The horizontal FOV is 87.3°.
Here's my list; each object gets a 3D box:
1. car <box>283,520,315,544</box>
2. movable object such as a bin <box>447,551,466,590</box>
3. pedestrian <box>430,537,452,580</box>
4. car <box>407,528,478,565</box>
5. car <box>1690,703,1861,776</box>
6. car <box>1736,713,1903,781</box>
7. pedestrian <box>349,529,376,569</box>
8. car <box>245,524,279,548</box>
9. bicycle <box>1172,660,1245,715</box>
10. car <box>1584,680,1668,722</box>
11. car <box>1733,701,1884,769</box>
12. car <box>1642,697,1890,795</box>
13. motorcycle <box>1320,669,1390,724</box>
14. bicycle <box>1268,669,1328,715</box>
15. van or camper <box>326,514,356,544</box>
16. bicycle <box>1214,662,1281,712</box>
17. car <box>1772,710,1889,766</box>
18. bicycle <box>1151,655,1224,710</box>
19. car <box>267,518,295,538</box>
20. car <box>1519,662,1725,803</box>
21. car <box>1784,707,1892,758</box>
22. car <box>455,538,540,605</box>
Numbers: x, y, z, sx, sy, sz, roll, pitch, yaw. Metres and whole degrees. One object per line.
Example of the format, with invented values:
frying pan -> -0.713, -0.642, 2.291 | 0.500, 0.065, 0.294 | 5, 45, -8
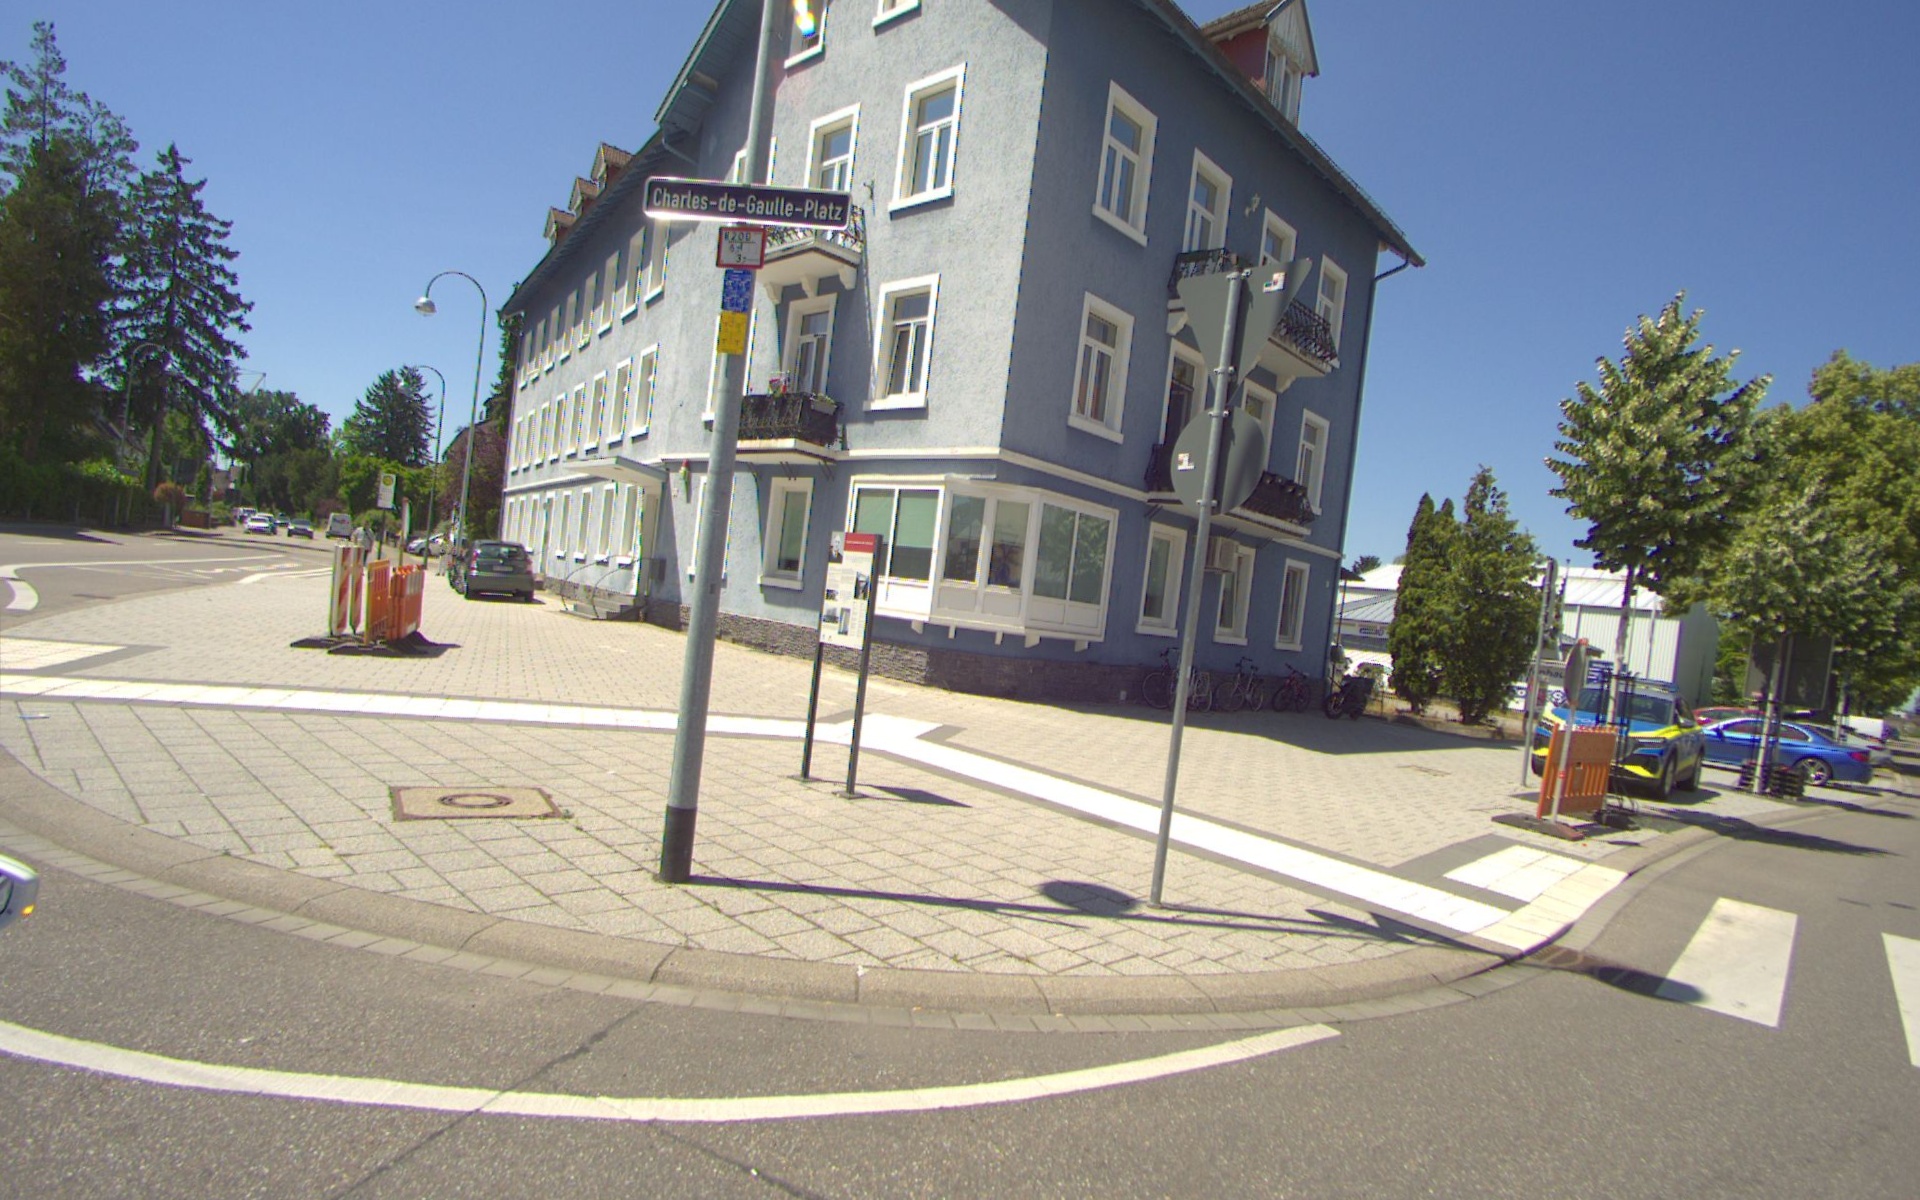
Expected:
car -> -57.314, -5.917, 87.271 | 1.980, 1.737, 3.967 | 7, -1, -32
movable object such as a bin -> -15.077, -0.879, 30.136 | 0.279, 1.138, 1.180 | 5, 1, -20
pedestrian -> -19.995, -1.599, 38.785 | 0.659, 1.615, 0.583 | 3, 3, -24
car -> -36.337, -3.745, 70.646 | 3.968, 2.038, 1.979 | 8, 0, -38
car -> 25.845, 4.386, 31.940 | 3.947, 1.548, 1.989 | 7, 0, 44
car -> 28.180, 4.781, 33.053 | 3.947, 1.464, 1.989 | 7, 0, 44
pedestrian -> -20.208, -1.731, 34.020 | 0.659, 1.303, 0.583 | 3, 3, -24
car -> -58.066, -5.299, 83.768 | 1.980, 1.671, 3.966 | 7, -1, -32
bicycle -> 4.761, 1.679, 19.219 | 0.434, 0.918, 1.703 | 10, 2, 45
car -> 41.926, 6.330, 63.367 | 1.989, 1.882, 3.949 | 9, 0, -44
car -> 31.683, 5.018, 37.625 | 1.987, 1.805, 3.952 | 7, 0, -42
car -> 19.310, 3.484, 24.294 | 4.407, 1.496, 1.900 | 7, -3, 41
motorcycle -> 8.974, 2.200, 22.817 | 1.894, 1.065, 0.580 | 8, 2, -43
bicycle -> 7.686, 2.096, 22.850 | 0.475, 0.918, 1.703 | 10, 2, 45
van or camper -> -61.842, -7.072, 100.451 | 2.191, 2.642, 3.965 | 7, 0, -33
bicycle -> 6.082, 1.842, 21.221 | 0.475, 0.918, 1.703 | 10, 2, 45
car -> 41.200, 6.524, 47.670 | 3.948, 1.881, 1.990 | 7, -1, 44
bicycle -> 4.438, 1.618, 19.533 | 0.434, 0.918, 1.703 | 10, 2, 45
car -> -84.382, -8.941, 125.031 | 3.947, 2.038, 1.989 | 7, 0, 44
car -> 10.994, 2.153, 16.583 | 1.881, 1.765, 4.226 | 9, 0, 45
car -> 45.173, 6.783, 51.808 | 3.947, 1.884, 1.987 | 7, 2, 44
car -> -12.263, -0.789, 26.571 | 1.626, 1.528, 3.534 | 3, 2, -31
